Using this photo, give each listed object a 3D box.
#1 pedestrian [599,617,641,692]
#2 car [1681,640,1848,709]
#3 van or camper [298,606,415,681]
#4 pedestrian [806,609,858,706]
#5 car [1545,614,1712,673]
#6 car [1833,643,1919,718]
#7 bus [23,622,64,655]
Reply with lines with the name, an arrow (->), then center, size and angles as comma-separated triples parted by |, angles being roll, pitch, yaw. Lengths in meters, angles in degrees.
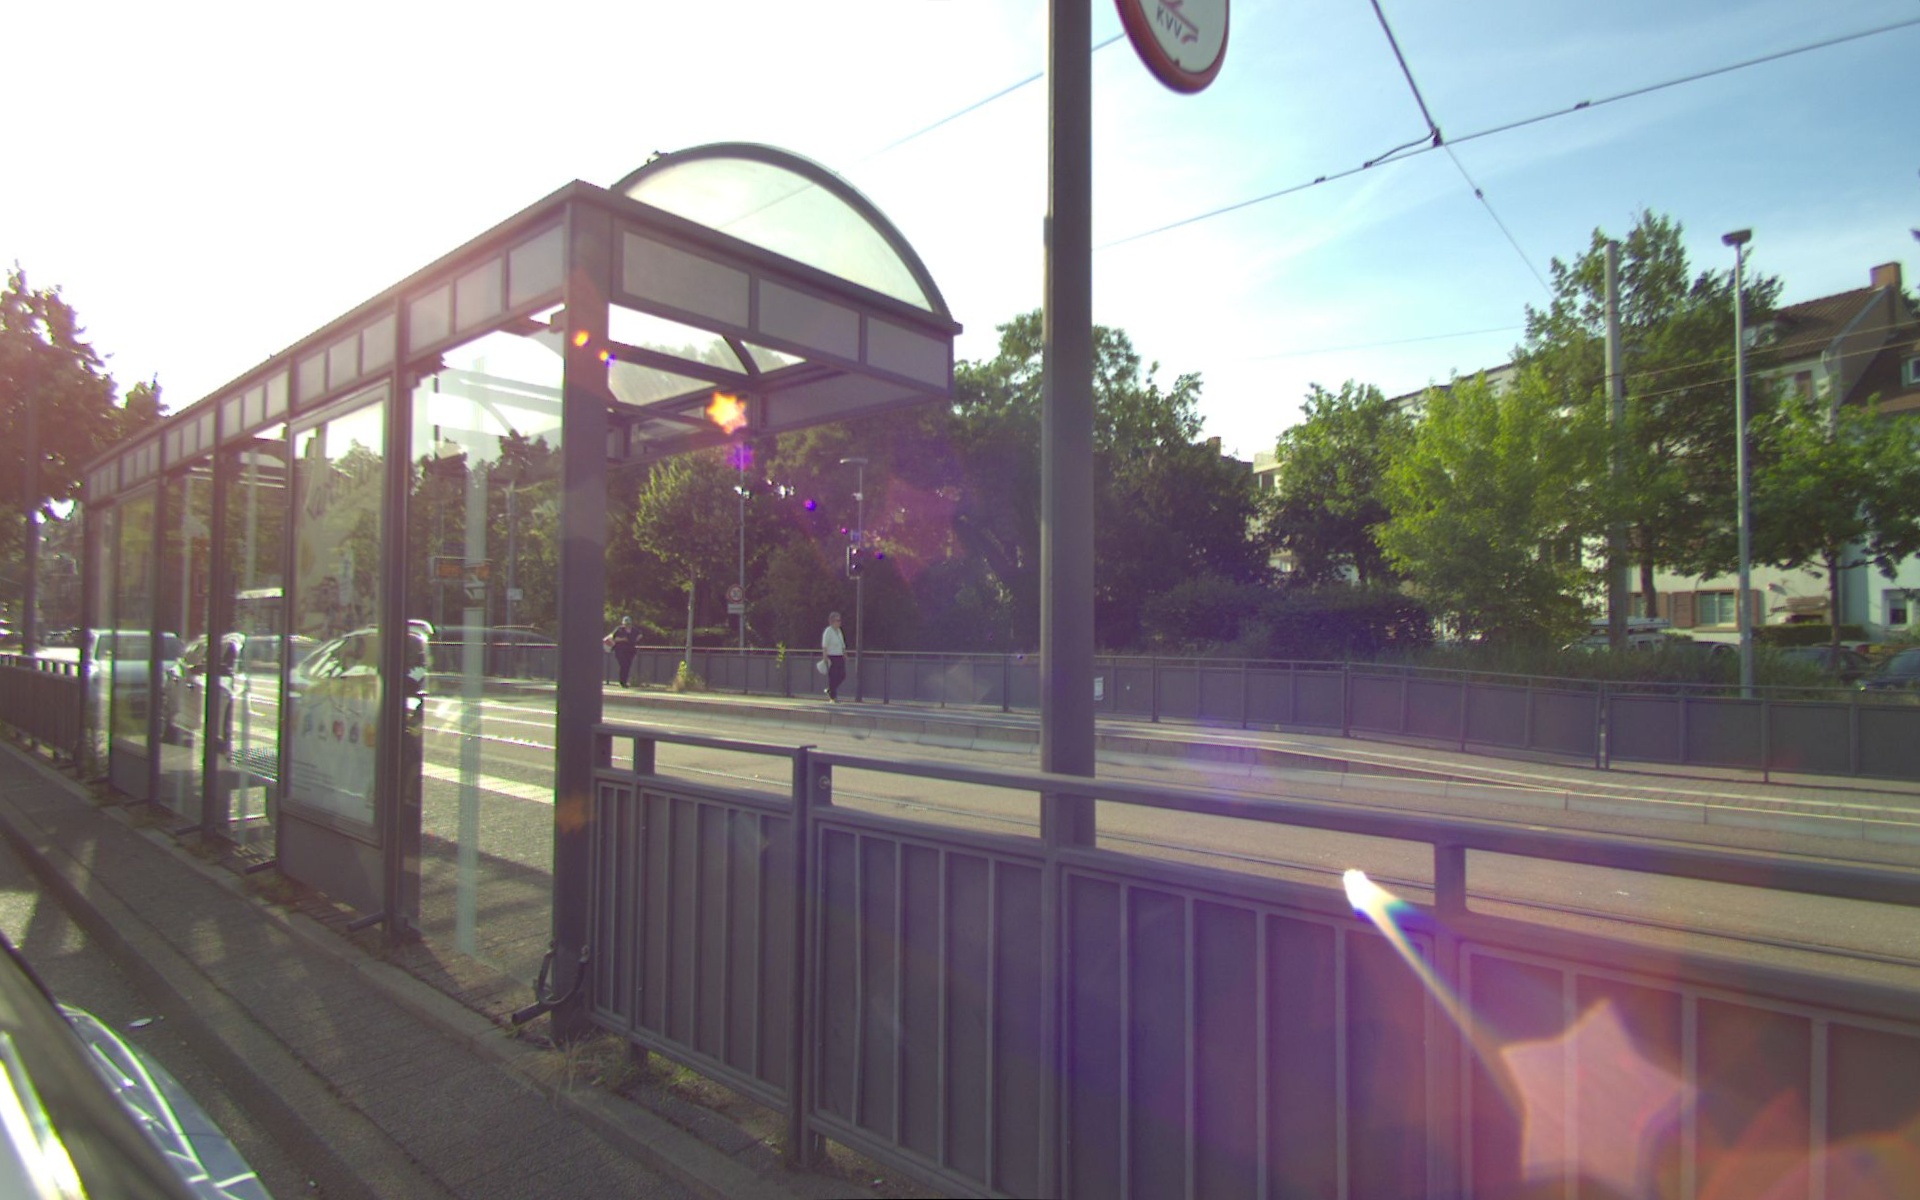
pedestrian -> -7.924, 1.275, 23.592 | 0.618, 1.697, 0.613 | -2, -6, 41
car -> 18.180, 1.619, 22.831 | 3.935, 1.409, 2.004 | 2, -3, -37
van or camper -> -26.246, 1.801, 43.896 | 6.408, 2.990, 2.494 | -1, 0, 41
pedestrian -> -2.321, 1.048, 18.364 | 0.618, 1.697, 0.613 | -2, -6, 41
car -> 18.106, 1.191, 27.434 | 3.930, 1.497, 1.854 | 1, -3, -22
car -> 19.632, 1.597, 20.604 | 3.935, 1.409, 2.004 | 2, -3, -37
bus -> -102.634, 4.269, 113.253 | 9.258, 3.461, 2.405 | -1, 0, 41
